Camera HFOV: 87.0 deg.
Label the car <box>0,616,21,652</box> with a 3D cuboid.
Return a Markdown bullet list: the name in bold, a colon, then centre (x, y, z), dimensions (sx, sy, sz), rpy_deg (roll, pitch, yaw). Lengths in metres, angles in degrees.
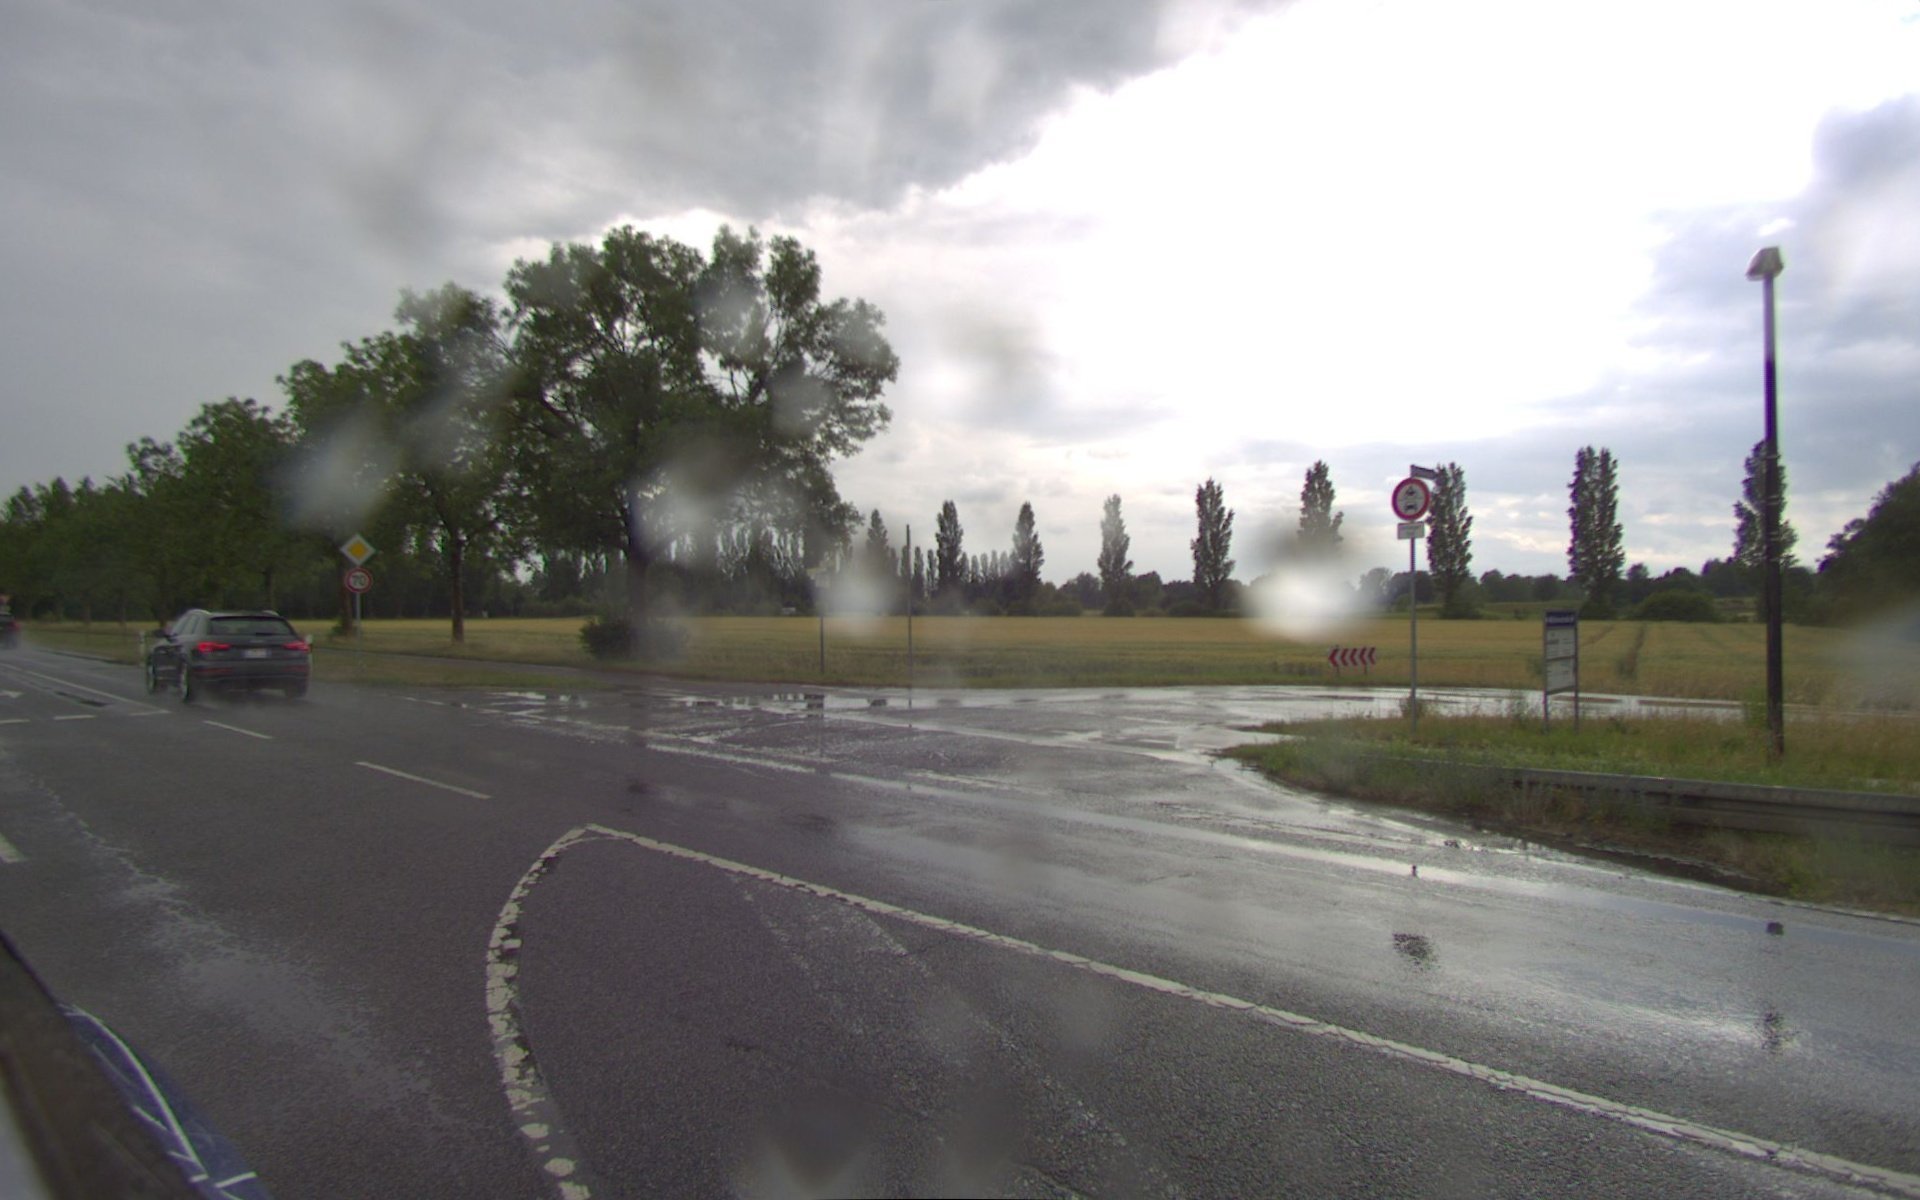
- **car**: centre (-44.070, 1.515, 45.702), dimensions (4.440, 1.592, 1.924), rpy_deg (-1, -3, 41)

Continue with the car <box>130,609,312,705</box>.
- **car**: centre (-13.345, 0.972, 18.187), dimensions (4.139, 1.535, 1.750), rpy_deg (-1, -3, 41)
